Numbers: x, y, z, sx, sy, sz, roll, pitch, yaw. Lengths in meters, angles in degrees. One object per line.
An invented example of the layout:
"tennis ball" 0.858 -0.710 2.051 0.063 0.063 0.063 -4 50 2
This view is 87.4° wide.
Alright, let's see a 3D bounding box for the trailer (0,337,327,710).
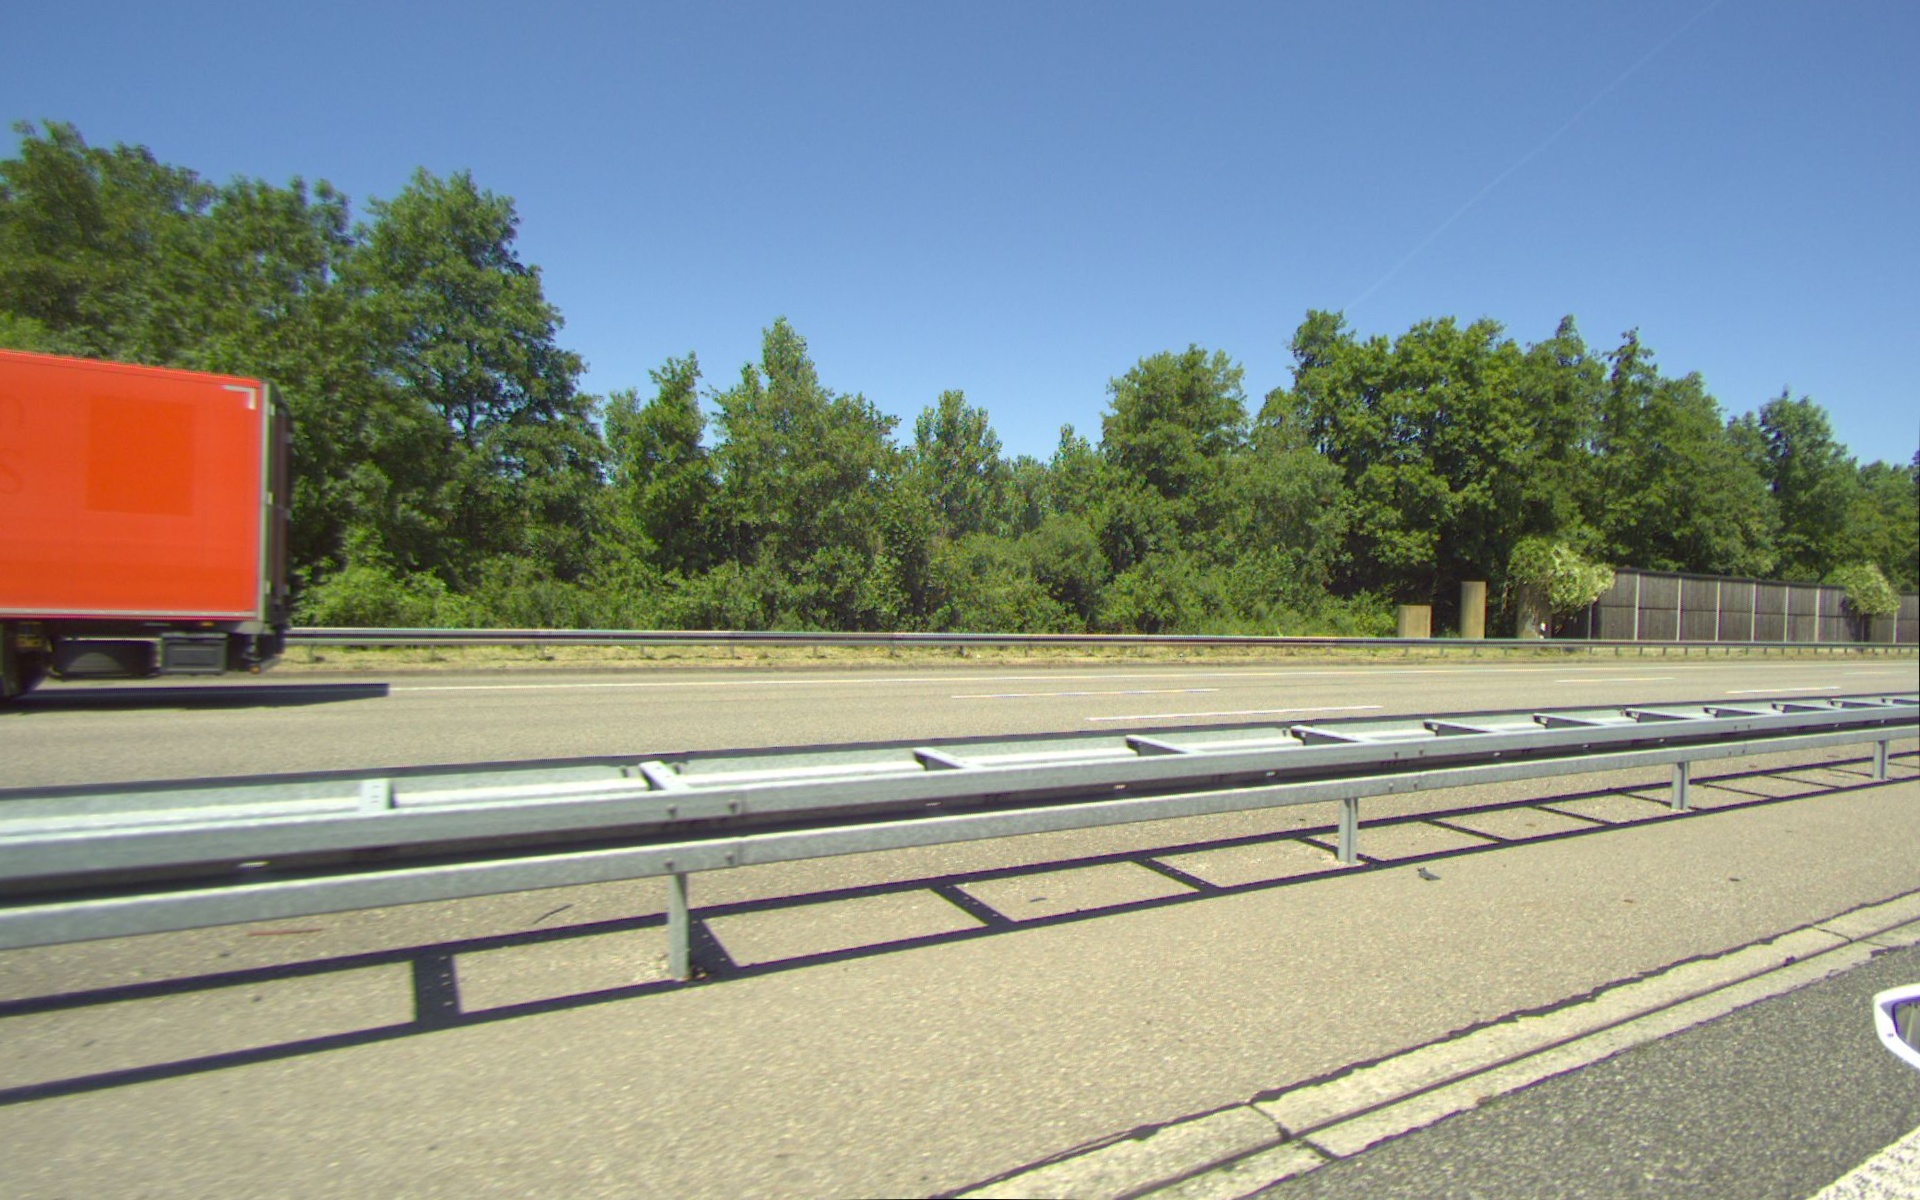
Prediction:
"trailer" -14.790 -0.944 10.252 13.883 4.122 2.671 2 0 -30
